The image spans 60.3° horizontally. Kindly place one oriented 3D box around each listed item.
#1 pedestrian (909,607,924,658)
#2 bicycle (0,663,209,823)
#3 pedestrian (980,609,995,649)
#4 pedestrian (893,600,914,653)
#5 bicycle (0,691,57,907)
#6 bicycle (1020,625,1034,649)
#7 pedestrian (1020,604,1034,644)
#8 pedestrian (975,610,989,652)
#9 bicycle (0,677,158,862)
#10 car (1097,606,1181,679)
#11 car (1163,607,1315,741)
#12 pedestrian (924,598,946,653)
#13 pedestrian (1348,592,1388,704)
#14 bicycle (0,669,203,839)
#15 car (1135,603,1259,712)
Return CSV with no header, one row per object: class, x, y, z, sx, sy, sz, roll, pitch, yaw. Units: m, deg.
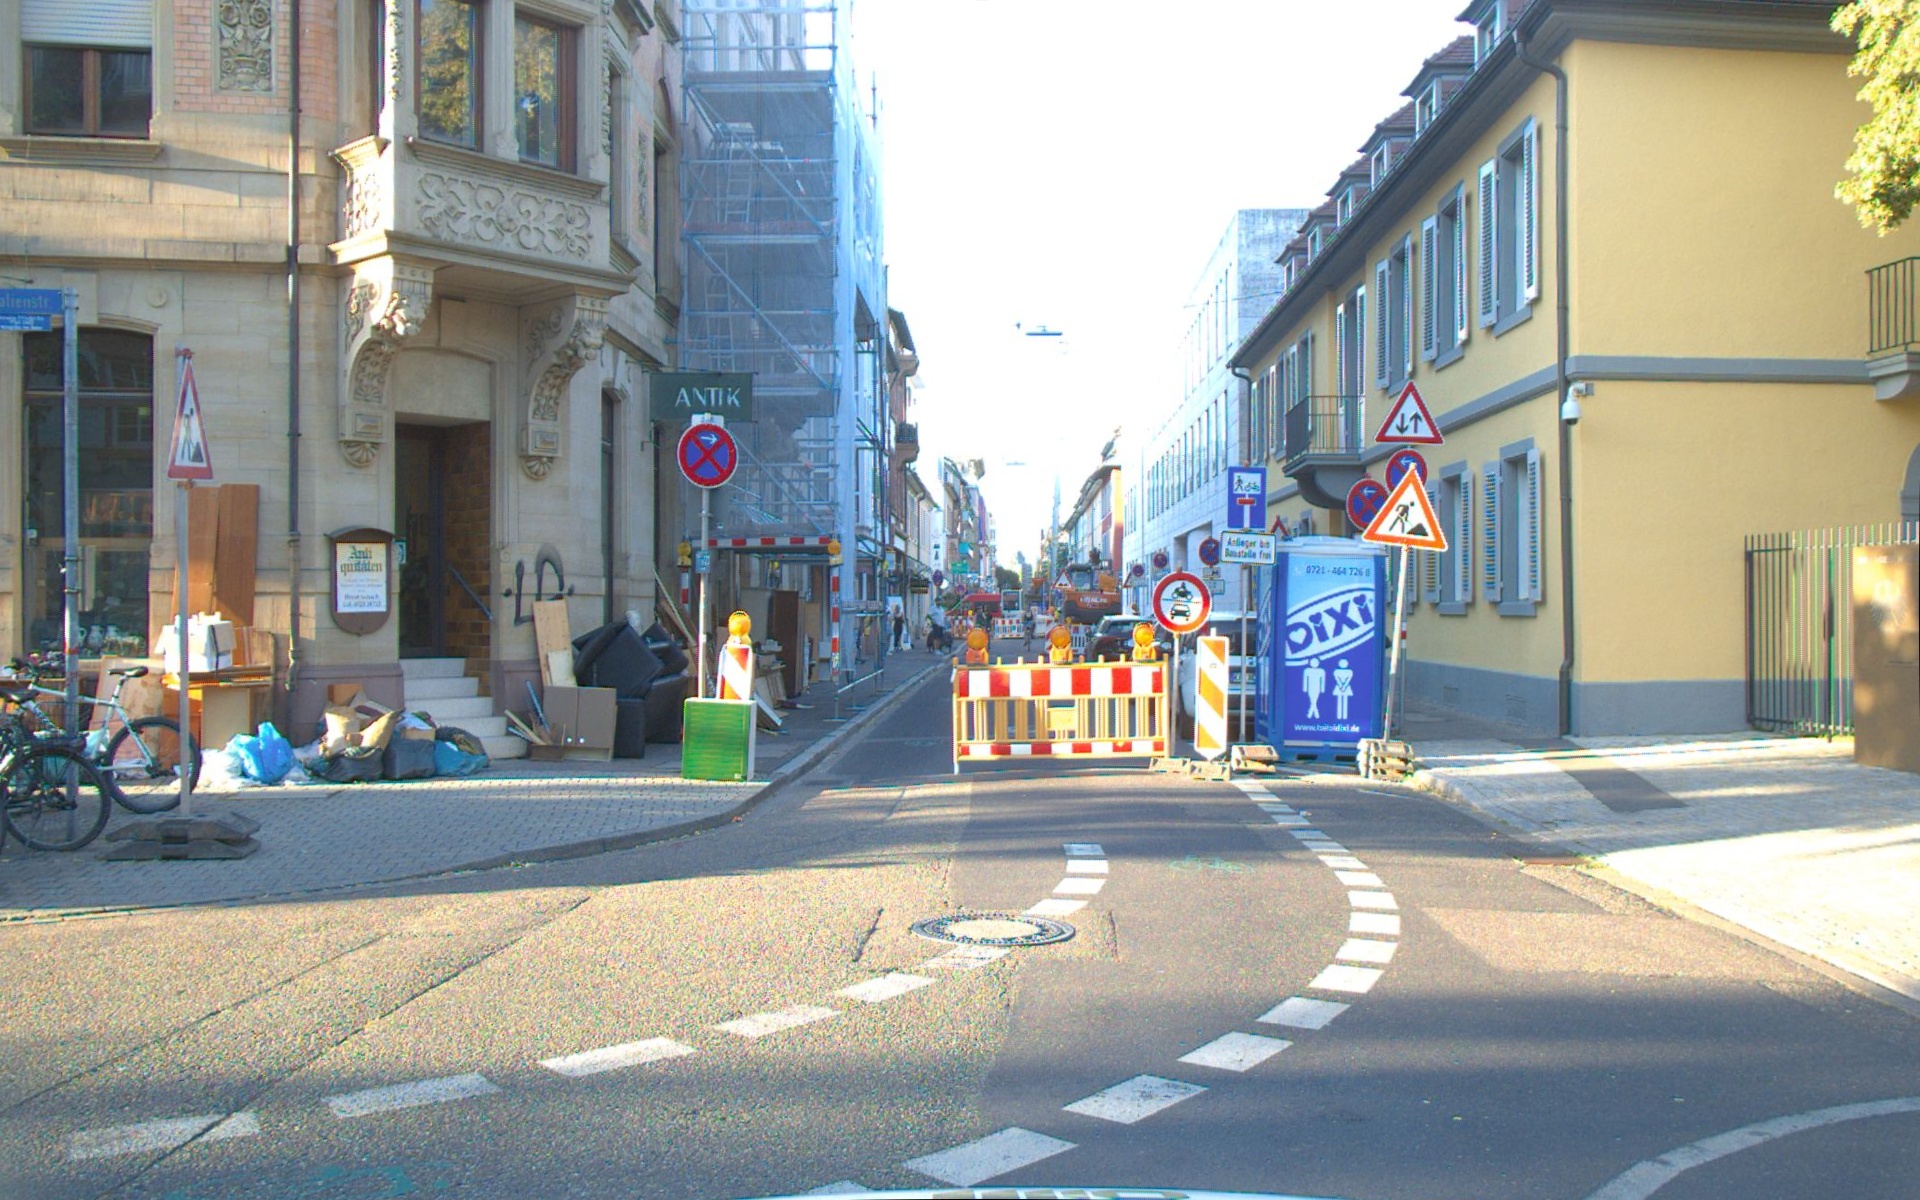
pedestrian,-1.385,1.030,52.394,0.335,1.594,0.420,0,-1,24
bicycle,-6.372,0.985,11.472,2.065,1.058,0.464,0,0,-10
pedestrian,1.053,1.097,62.470,0.494,1.487,0.513,0,0,8
pedestrian,-1.909,0.901,55.814,0.662,1.763,0.699,0,-1,-1
bicycle,-5.753,1.025,8.575,1.791,1.065,0.571,0,0,-6
bicycle,2.539,1.393,62.713,0.494,0.899,1.477,0,0,2
pedestrian,2.541,0.911,62.622,0.494,1.487,0.512,0,0,3
pedestrian,0.785,1.125,59.958,0.494,1.487,0.512,0,0,2
bicycle,-5.834,0.997,9.837,1.792,1.031,0.638,0,0,-9
car,4.019,0.930,37.521,1.682,1.547,3.222,0,0,2
car,3.499,0.886,21.177,1.508,1.546,3.222,1,0,2
pedestrian,-0.826,0.831,54.779,0.501,1.795,0.505,0,0,-39
pedestrian,6.025,0.700,24.426,0.457,1.623,0.673,0,0,5
bicycle,-6.119,0.991,10.758,2.065,1.031,0.638,0,0,-10
car,3.619,0.829,25.785,1.508,1.547,3.980,0,0,2
